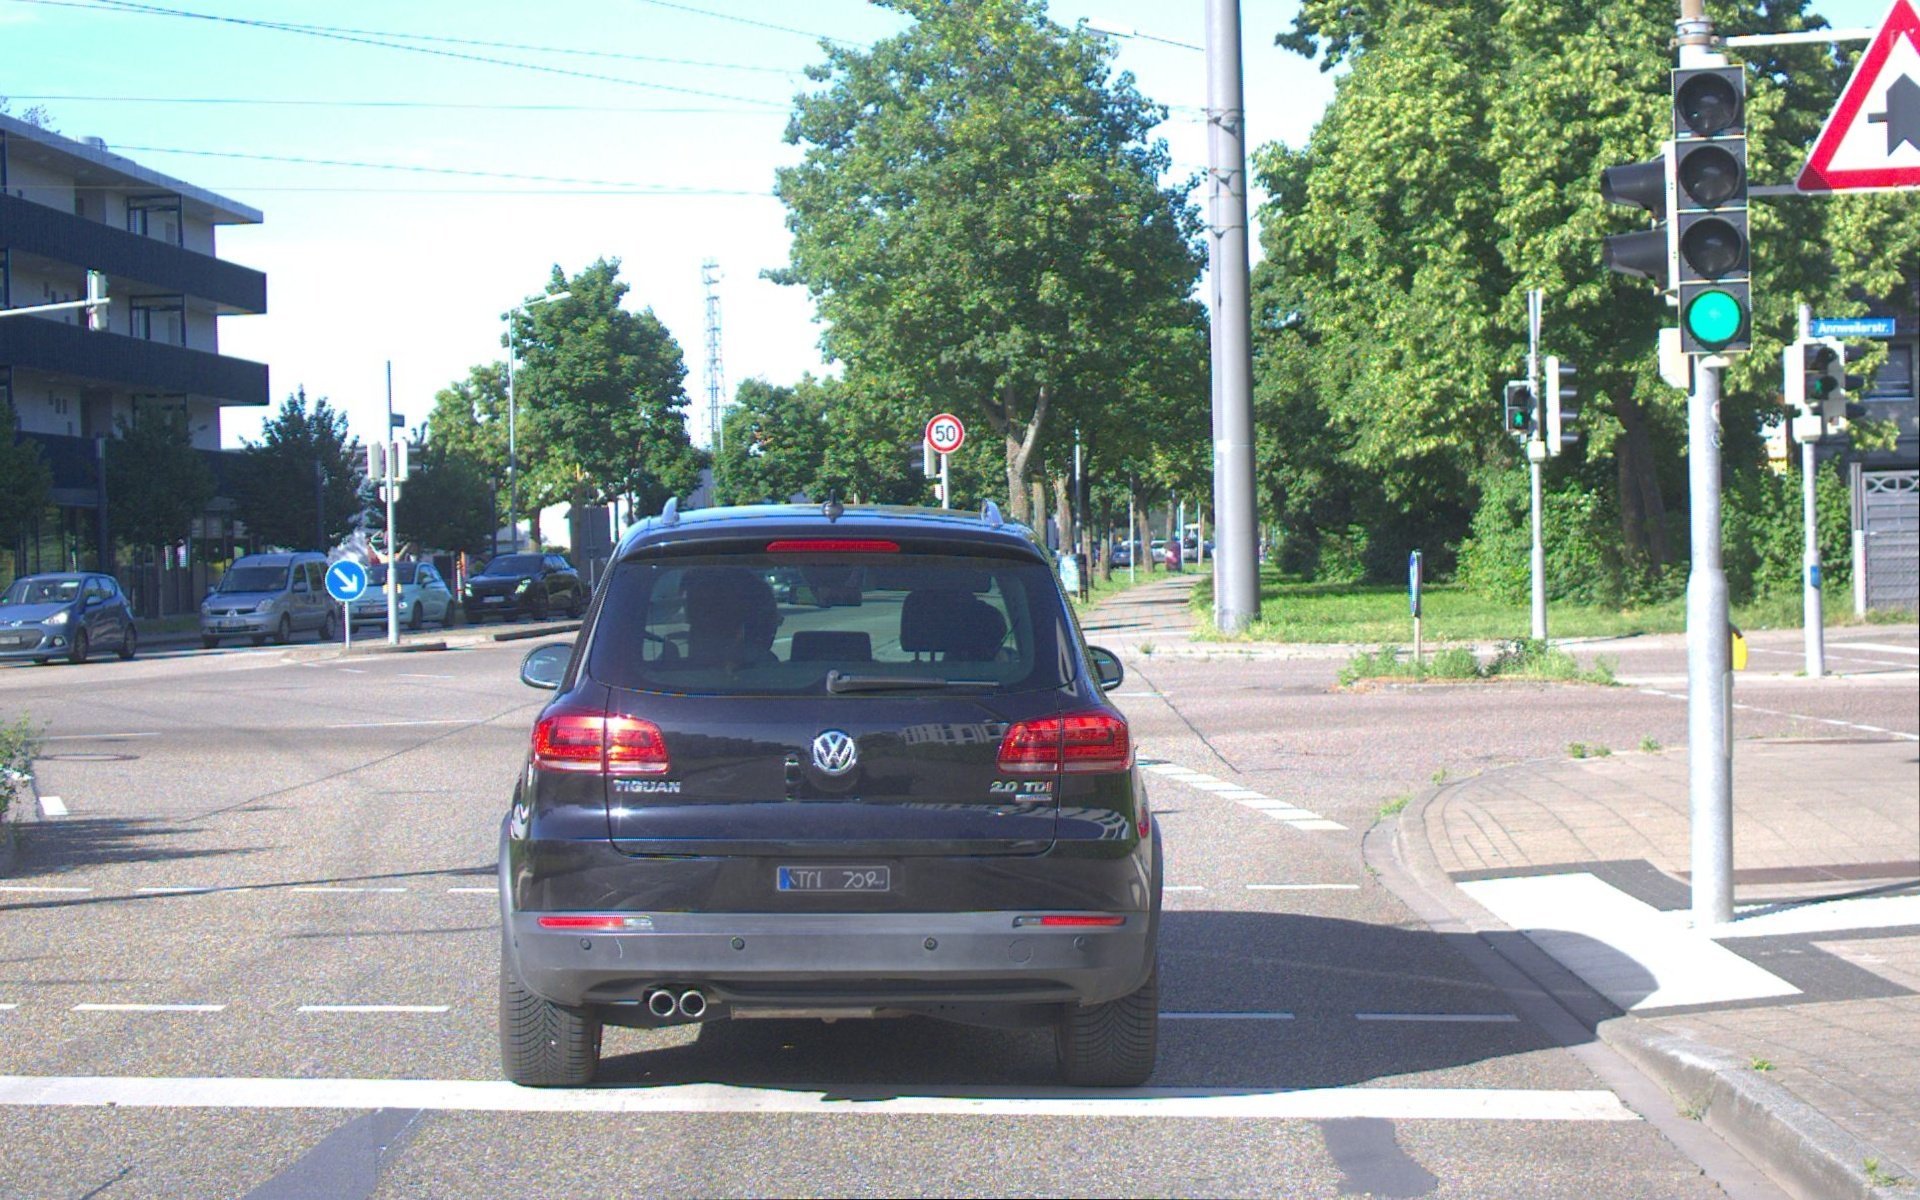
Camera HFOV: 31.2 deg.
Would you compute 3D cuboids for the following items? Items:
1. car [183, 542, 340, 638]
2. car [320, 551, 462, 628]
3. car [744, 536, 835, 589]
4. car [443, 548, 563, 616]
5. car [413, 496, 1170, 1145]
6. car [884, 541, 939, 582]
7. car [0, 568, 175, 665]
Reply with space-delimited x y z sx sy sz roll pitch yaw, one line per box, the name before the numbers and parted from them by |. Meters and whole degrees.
car | -13.508 -0.220 66.742 1.993 1.749 4.362 -1 1 2
car | -12.286 -0.246 74.410 1.994 1.482 3.543 -3 1 8
car | -5.292 -1.191 107.421 1.994 1.566 3.999 -2 1 9
car | -10.960 -0.467 82.765 1.967 1.529 4.740 -2 1 3
car | -0.441 0.534 11.087 1.929 1.649 4.514 1 1 0
car | -2.097 -1.705 150.986 1.994 1.731 5.199 -2 1 3
car | -14.535 0.247 56.252 1.696 1.451 4.451 -1 1 9
